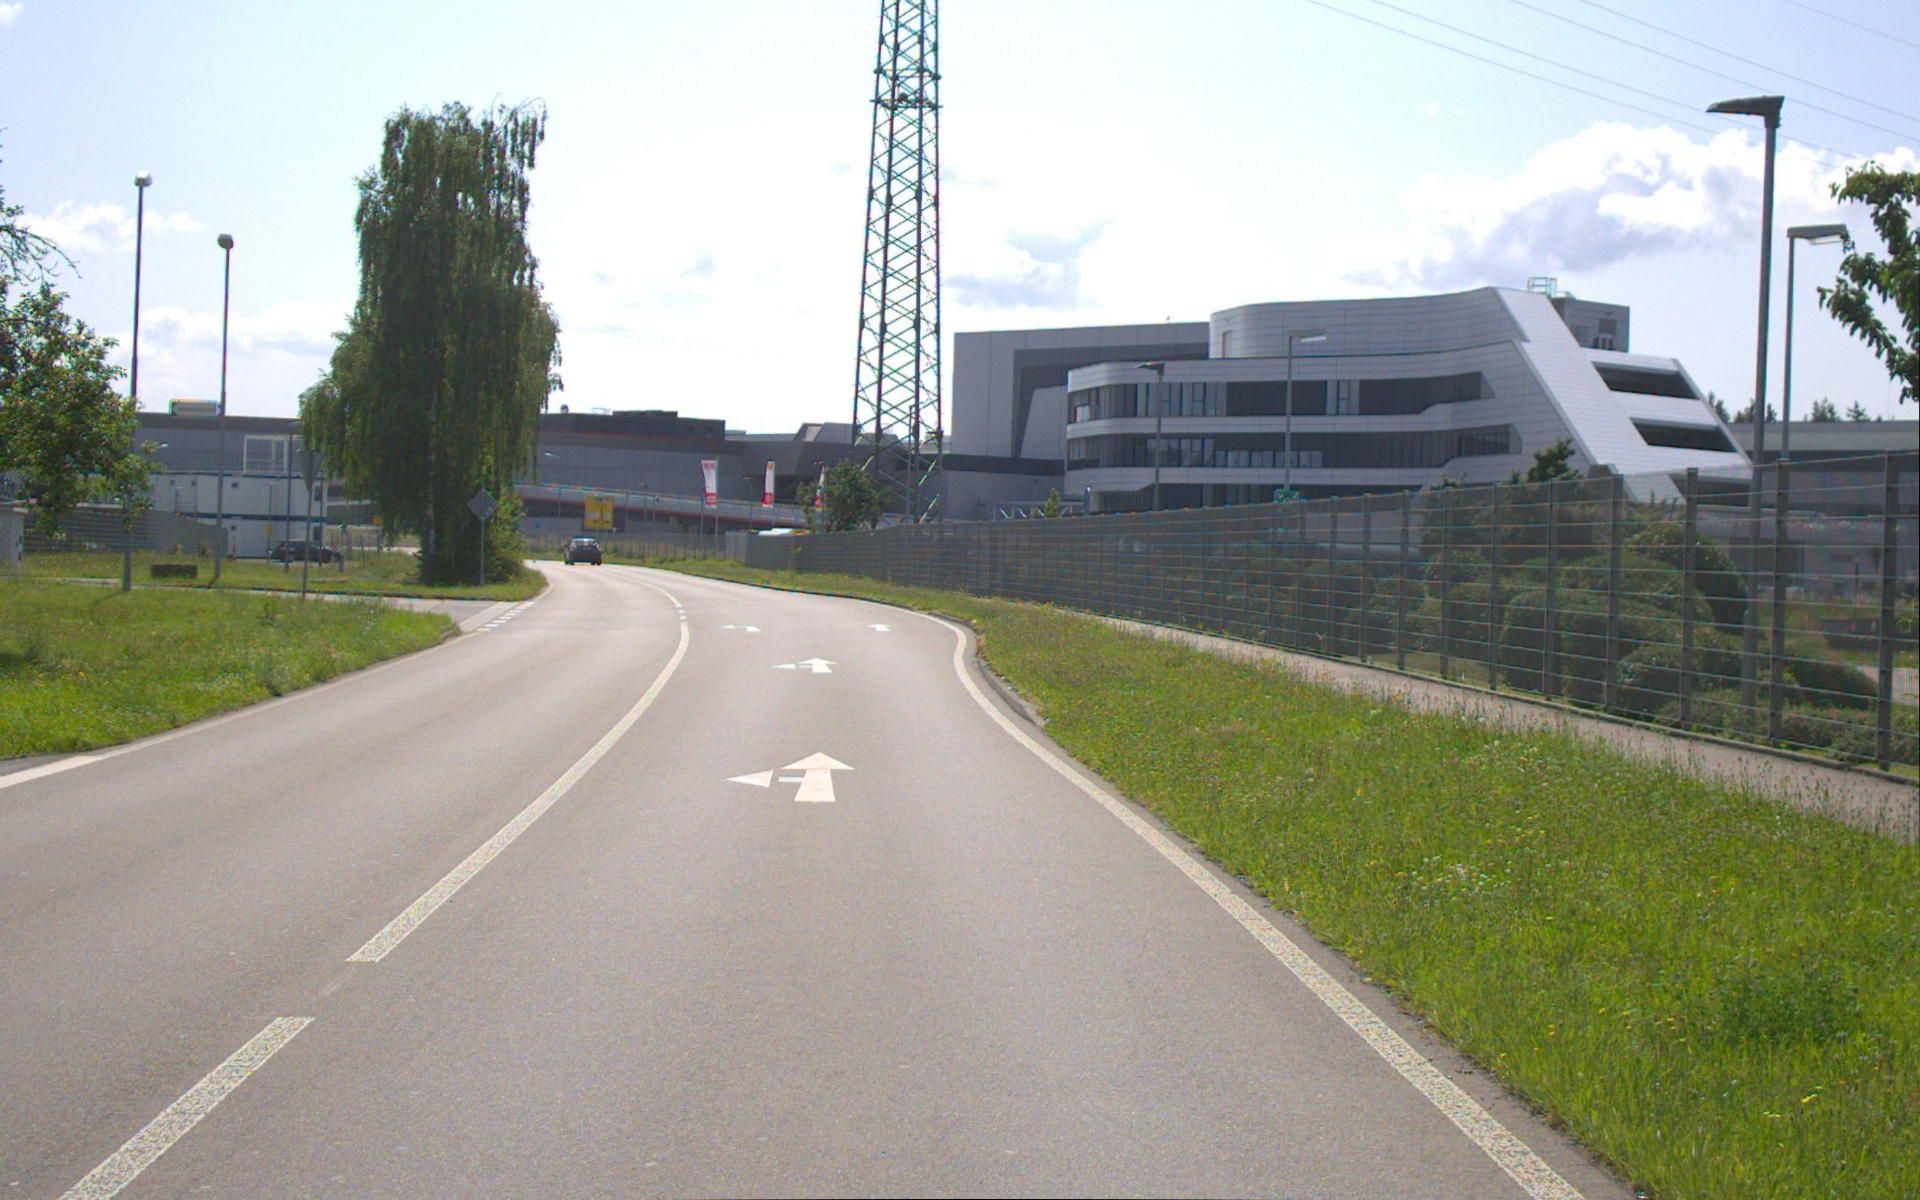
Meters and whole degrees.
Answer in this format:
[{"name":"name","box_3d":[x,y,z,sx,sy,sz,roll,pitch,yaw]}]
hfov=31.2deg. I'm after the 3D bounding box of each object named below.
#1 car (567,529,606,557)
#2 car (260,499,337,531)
[{"name":"car","box_3d":[-21.730,-3.311,200.079,2.012,1.503,4.001,2,1,-4]},{"name":"car","box_3d":[-35.840,-4.602,186.349,3.986,1.568,2.001,2,1,-8]}]
